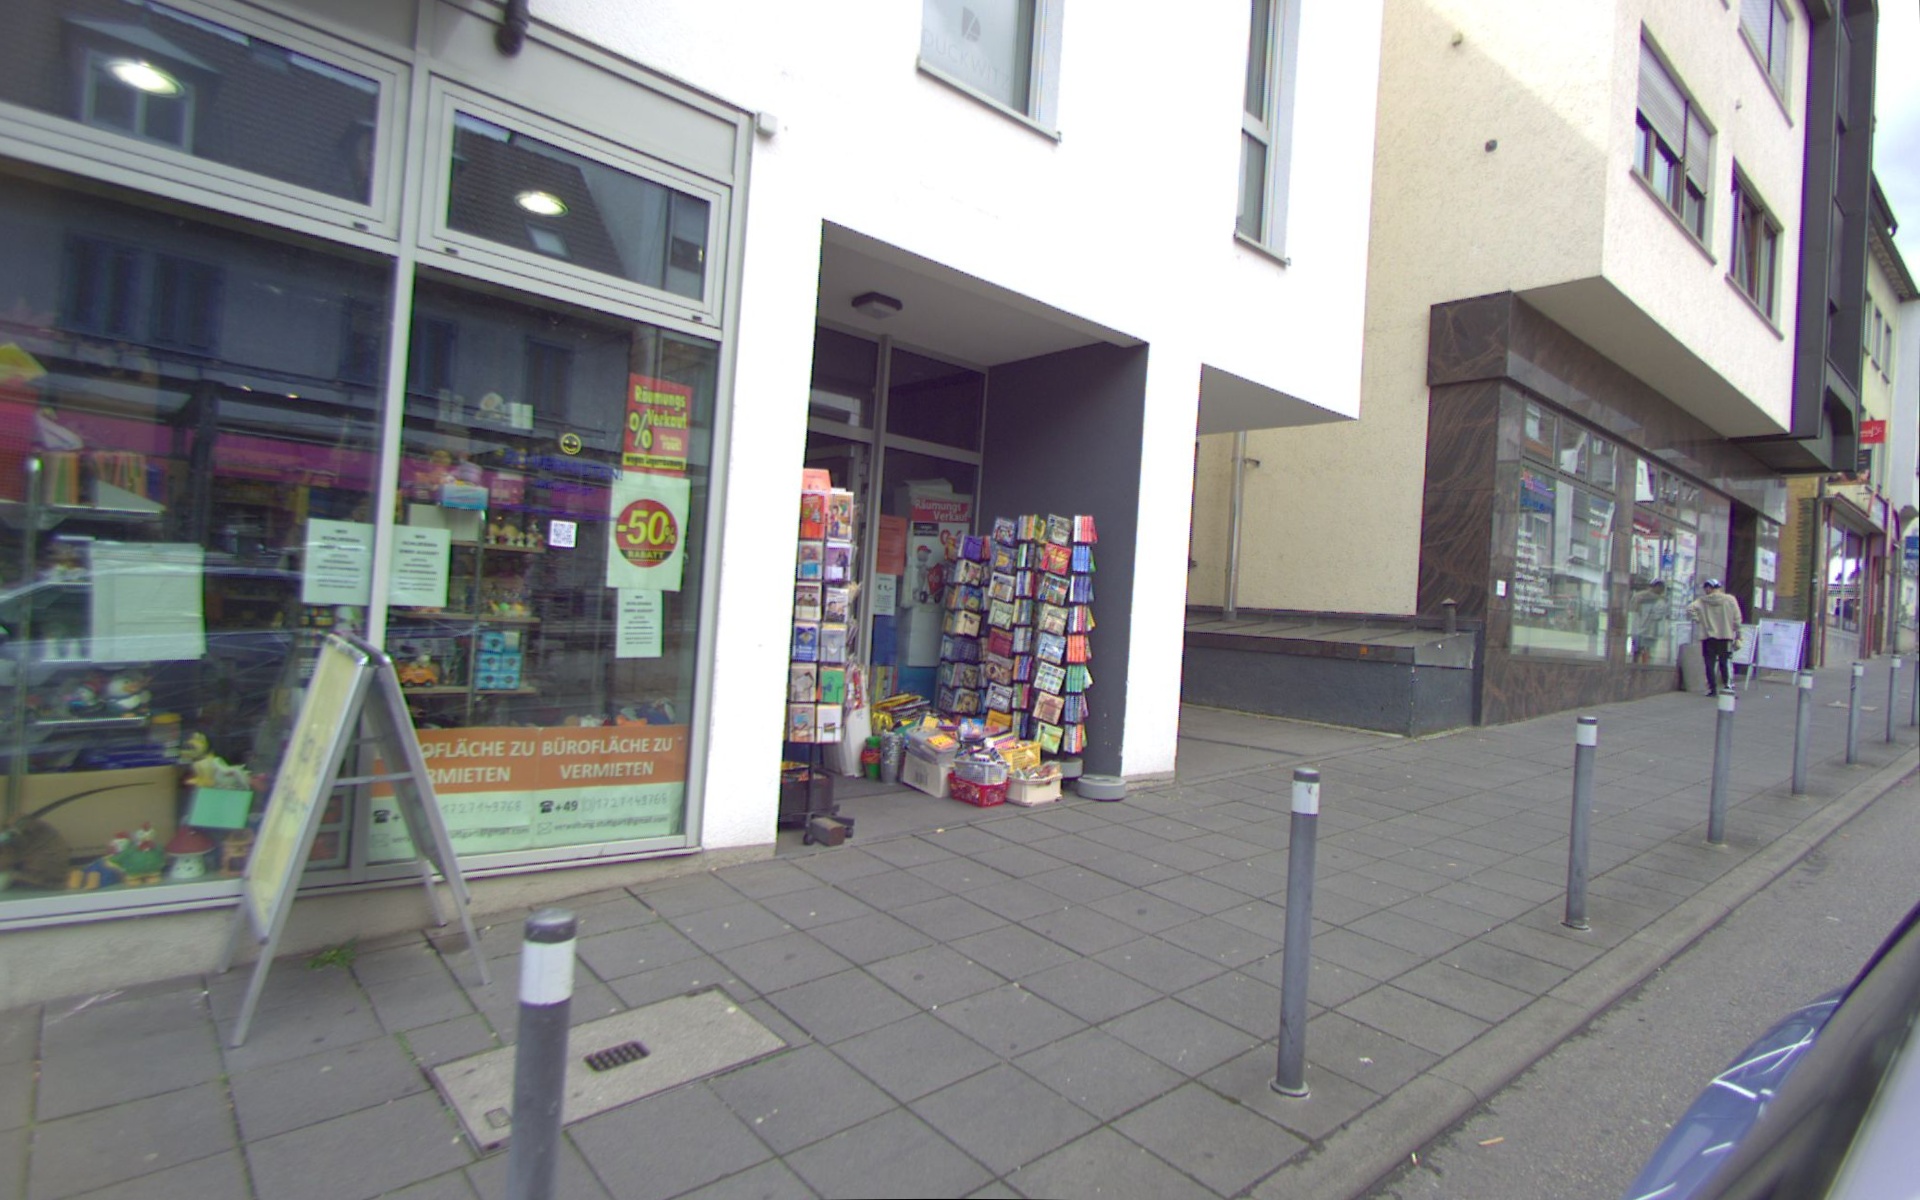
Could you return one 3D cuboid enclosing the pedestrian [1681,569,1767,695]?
[{"bbox_3d":[10.931,0.435,14.484,0.767,1.693,0.759,1,4,-43],"label":"pedestrian"}]
